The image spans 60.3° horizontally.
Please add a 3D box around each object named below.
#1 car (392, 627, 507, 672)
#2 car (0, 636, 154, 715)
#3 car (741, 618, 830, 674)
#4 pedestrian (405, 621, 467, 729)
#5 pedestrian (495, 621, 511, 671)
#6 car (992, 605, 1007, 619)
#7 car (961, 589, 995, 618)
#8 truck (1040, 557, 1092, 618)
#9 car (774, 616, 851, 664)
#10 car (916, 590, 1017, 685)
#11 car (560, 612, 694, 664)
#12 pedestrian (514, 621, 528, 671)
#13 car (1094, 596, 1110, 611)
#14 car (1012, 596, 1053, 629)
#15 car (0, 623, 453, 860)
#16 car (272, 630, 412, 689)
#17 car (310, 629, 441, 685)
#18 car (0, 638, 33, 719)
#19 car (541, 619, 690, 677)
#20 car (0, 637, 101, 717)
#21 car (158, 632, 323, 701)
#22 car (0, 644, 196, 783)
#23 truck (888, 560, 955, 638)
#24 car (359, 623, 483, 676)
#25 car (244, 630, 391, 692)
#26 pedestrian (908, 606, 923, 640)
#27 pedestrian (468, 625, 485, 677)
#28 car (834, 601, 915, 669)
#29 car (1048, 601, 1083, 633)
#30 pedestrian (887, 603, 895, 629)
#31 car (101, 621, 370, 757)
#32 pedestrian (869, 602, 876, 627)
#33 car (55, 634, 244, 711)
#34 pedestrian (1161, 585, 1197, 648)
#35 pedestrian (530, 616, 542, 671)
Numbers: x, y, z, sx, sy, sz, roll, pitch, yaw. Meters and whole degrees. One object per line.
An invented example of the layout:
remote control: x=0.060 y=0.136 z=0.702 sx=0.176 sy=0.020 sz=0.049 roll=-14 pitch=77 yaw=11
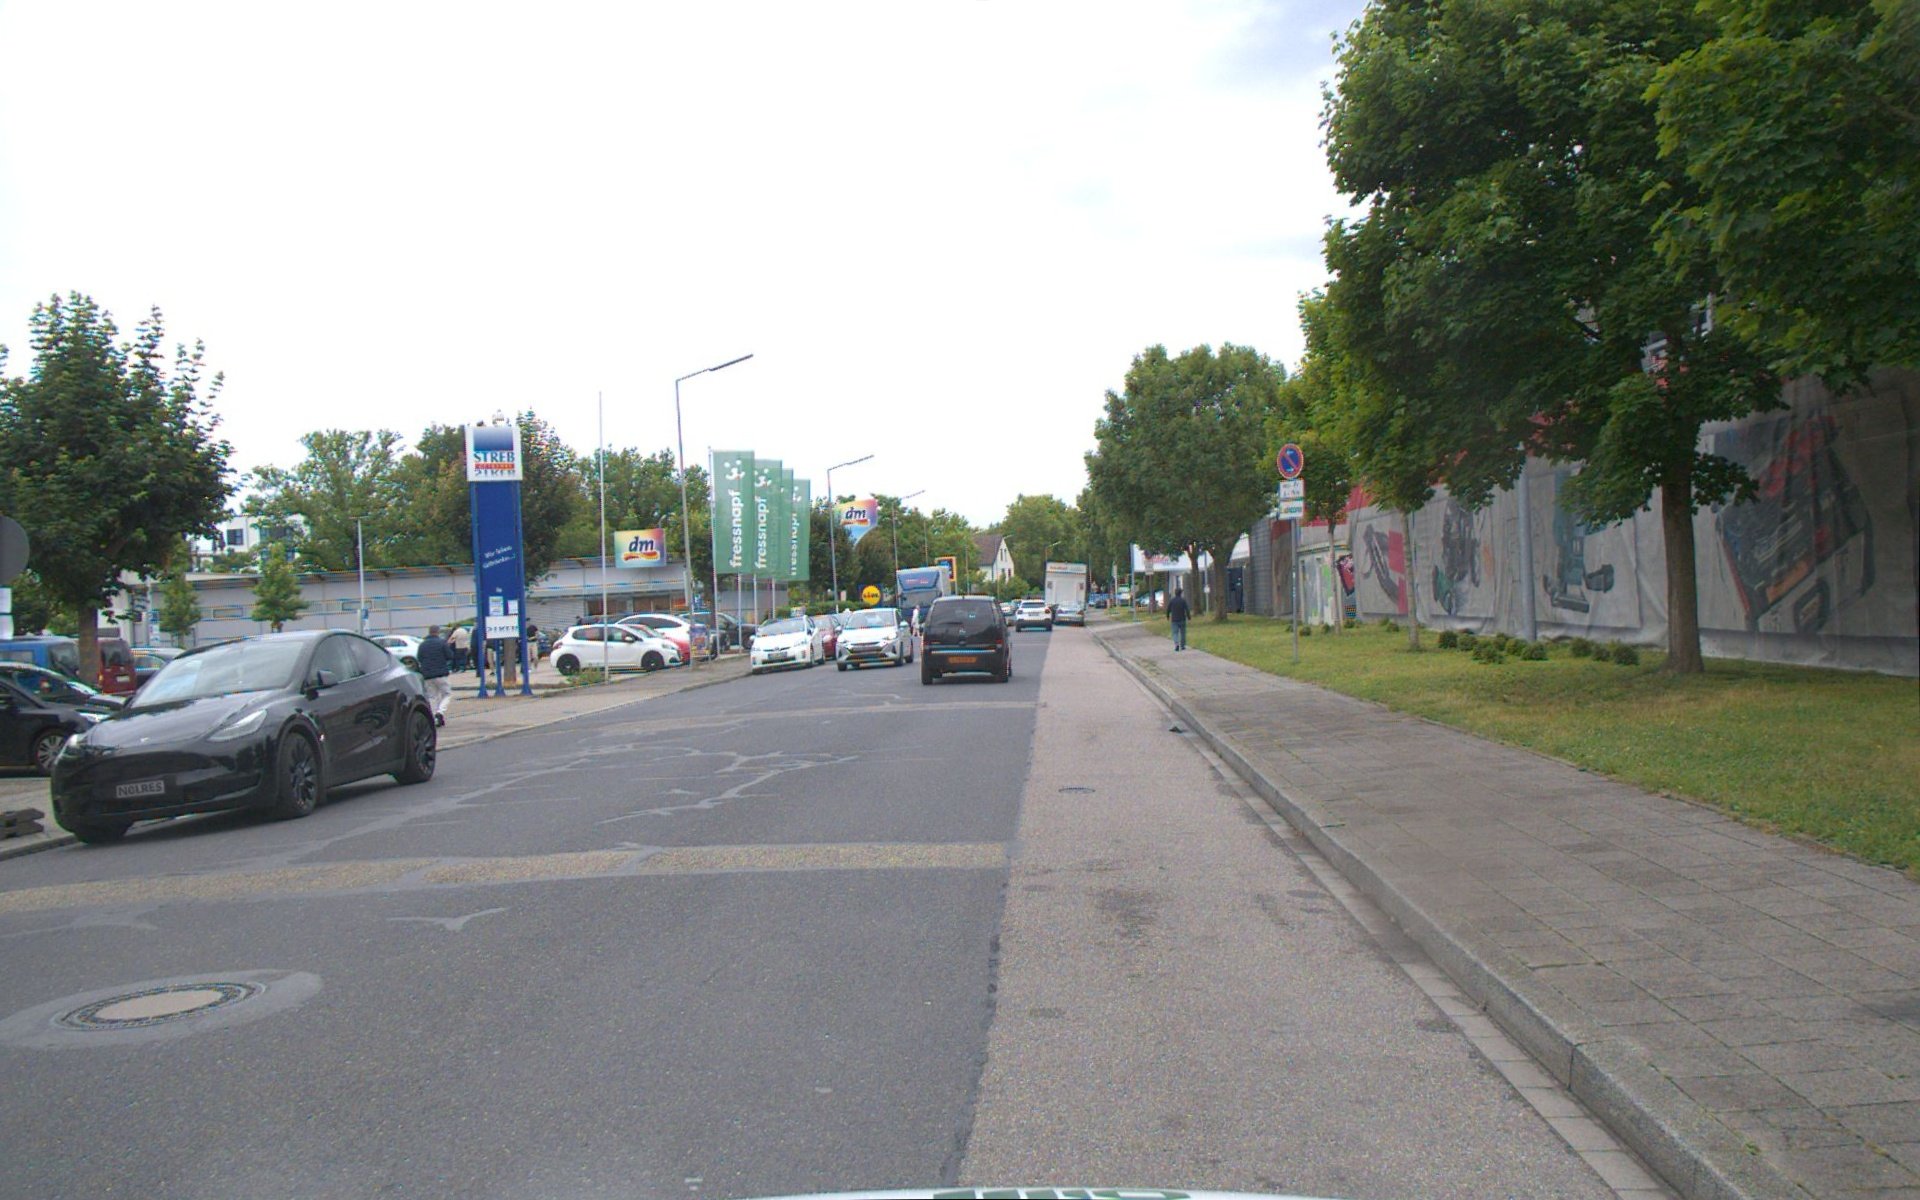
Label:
car: x=-20.159 y=1.963 z=65.432 sx=3.903 sy=1.518 sz=1.787 roll=-3 pitch=0 yaw=4
car: x=-22.252 y=1.869 z=40.628 sx=3.904 sy=1.698 sz=1.877 roll=-3 pitch=0 yaw=3
car: x=-4.976 y=1.290 z=47.700 sx=1.858 sy=1.391 sz=4.002 roll=-3 pitch=0 yaw=3
pedestrian: x=-8.780 y=1.247 z=27.725 sx=0.759 sy=1.745 sz=0.697 roll=-2 pitch=0 yaw=-1
pedestrian: x=-14.827 y=1.493 z=53.622 sx=0.352 sy=1.597 sz=0.503 roll=-3 pitch=0 yaw=-7
car: x=4.203 y=1.301 z=175.496 sx=1.509 sy=1.389 sz=3.429 roll=-2 pitch=-1 yaw=4
car: x=1.166 y=0.233 z=105.313 sx=1.952 sy=1.713 sz=4.001 roll=-2 pitch=-1 yaw=2
truck: x=6.785 y=-0.717 z=107.106 sx=3.070 sy=3.647 sz=10.052 roll=-2 pitch=-1 yaw=2
car: x=-4.790 y=1.281 z=54.220 sx=1.858 sy=1.391 sz=4.002 roll=-3 pitch=0 yaw=3
car: x=0.182 y=0.687 z=32.213 sx=1.646 sy=1.660 sz=3.761 roll=-3 pitch=0 yaw=4
car: x=-11.057 y=1.253 z=55.136 sx=4.052 sy=1.488 sz=1.898 roll=-3 pitch=0 yaw=-2
pedestrian: x=-14.323 y=1.489 z=53.948 sx=0.323 sy=1.597 sz=0.503 roll=-2 pitch=0 yaw=-8
car: x=17.320 y=0.414 z=201.642 sx=1.847 sy=1.713 sz=4.256 roll=-1 pitch=0 yaw=4
car: x=3.616 y=0.605 z=81.795 sx=1.847 sy=1.558 sz=4.256 roll=-1 pitch=0 yaw=4
car: x=-6.381 y=1.131 z=15.034 sx=1.907 sy=1.552 sz=4.403 roll=-7 pitch=0 yaw=2
car: x=-20.792 y=2.004 z=55.724 sx=3.904 sy=1.698 sz=1.877 roll=-3 pitch=0 yaw=3
car: x=-20.991 y=2.033 z=59.493 sx=3.904 sy=1.698 sz=1.877 roll=-3 pitch=0 yaw=3
car: x=-22.542 y=1.816 z=35.743 sx=3.904 sy=1.698 sz=1.877 roll=-3 pitch=0 yaw=3
car: x=-10.425 y=1.435 z=50.223 sx=4.121 sy=1.488 sz=1.951 roll=-3 pitch=0 yaw=-4
car: x=-22.317 y=1.838 z=38.213 sx=3.904 sy=1.698 sz=1.877 roll=-3 pitch=0 yaw=3
car: x=-20.930 y=1.921 z=48.225 sx=3.904 sy=1.698 sz=1.877 roll=-3 pitch=0 yaw=3
car: x=-12.418 y=1.483 z=21.767 sx=3.792 sy=1.649 sz=1.928 roll=-2 pitch=0 yaw=4
truck: x=-2.101 y=-0.065 z=93.174 sx=2.912 sy=4.024 sz=6.408 roll=-4 pitch=0 yaw=4
car: x=-20.130 y=1.840 z=61.833 sx=3.904 sy=1.698 sz=1.877 roll=-3 pitch=0 yaw=3
car: x=-20.679 y=1.964 z=53.296 sx=3.904 sy=1.698 sz=1.877 roll=-3 pitch=0 yaw=3
pedestrian: x=-2.220 y=1.136 z=82.333 sx=0.617 sy=1.665 sz=0.668 roll=-3 pitch=0 yaw=2
pedestrian: x=-15.599 y=1.642 z=53.347 sx=0.447 sy=1.670 sz=0.373 roll=-3 pitch=0 yaw=-14
car: x=-2.161 y=0.882 z=42.699 sx=1.565 sy=1.554 sz=3.529 roll=-5 pitch=-1 yaw=4
car: x=6.220 y=1.002 z=97.972 sx=1.952 sy=1.837 sz=4.001 roll=-2 pitch=-1 yaw=2
pedestrian: x=-4.151 y=0.977 z=99.435 sx=0.393 sy=1.558 sz=0.485 roll=-3 pitch=0 yaw=-3
car: x=-12.670 y=1.526 z=29.115 sx=3.852 sy=2.048 sz=1.760 roll=-3 pitch=0 yaw=-4
pedestrian: x=-5.577 y=0.931 z=105.213 sx=0.393 sy=1.558 sz=0.485 roll=-3 pitch=0 yaw=-3
car: x=-21.029 y=1.863 z=42.998 sx=3.904 sy=1.698 sz=1.877 roll=-3 pitch=0 yaw=3
pedestrian: x=5.915 y=0.448 z=44.679 sx=0.899 sy=1.663 sz=0.853 roll=-2 pitch=-1 yaw=5
pedestrian: x=-13.769 y=1.412 z=53.762 sx=0.258 sy=1.760 sz=0.421 roll=-3 pitch=0 yaw=-9
